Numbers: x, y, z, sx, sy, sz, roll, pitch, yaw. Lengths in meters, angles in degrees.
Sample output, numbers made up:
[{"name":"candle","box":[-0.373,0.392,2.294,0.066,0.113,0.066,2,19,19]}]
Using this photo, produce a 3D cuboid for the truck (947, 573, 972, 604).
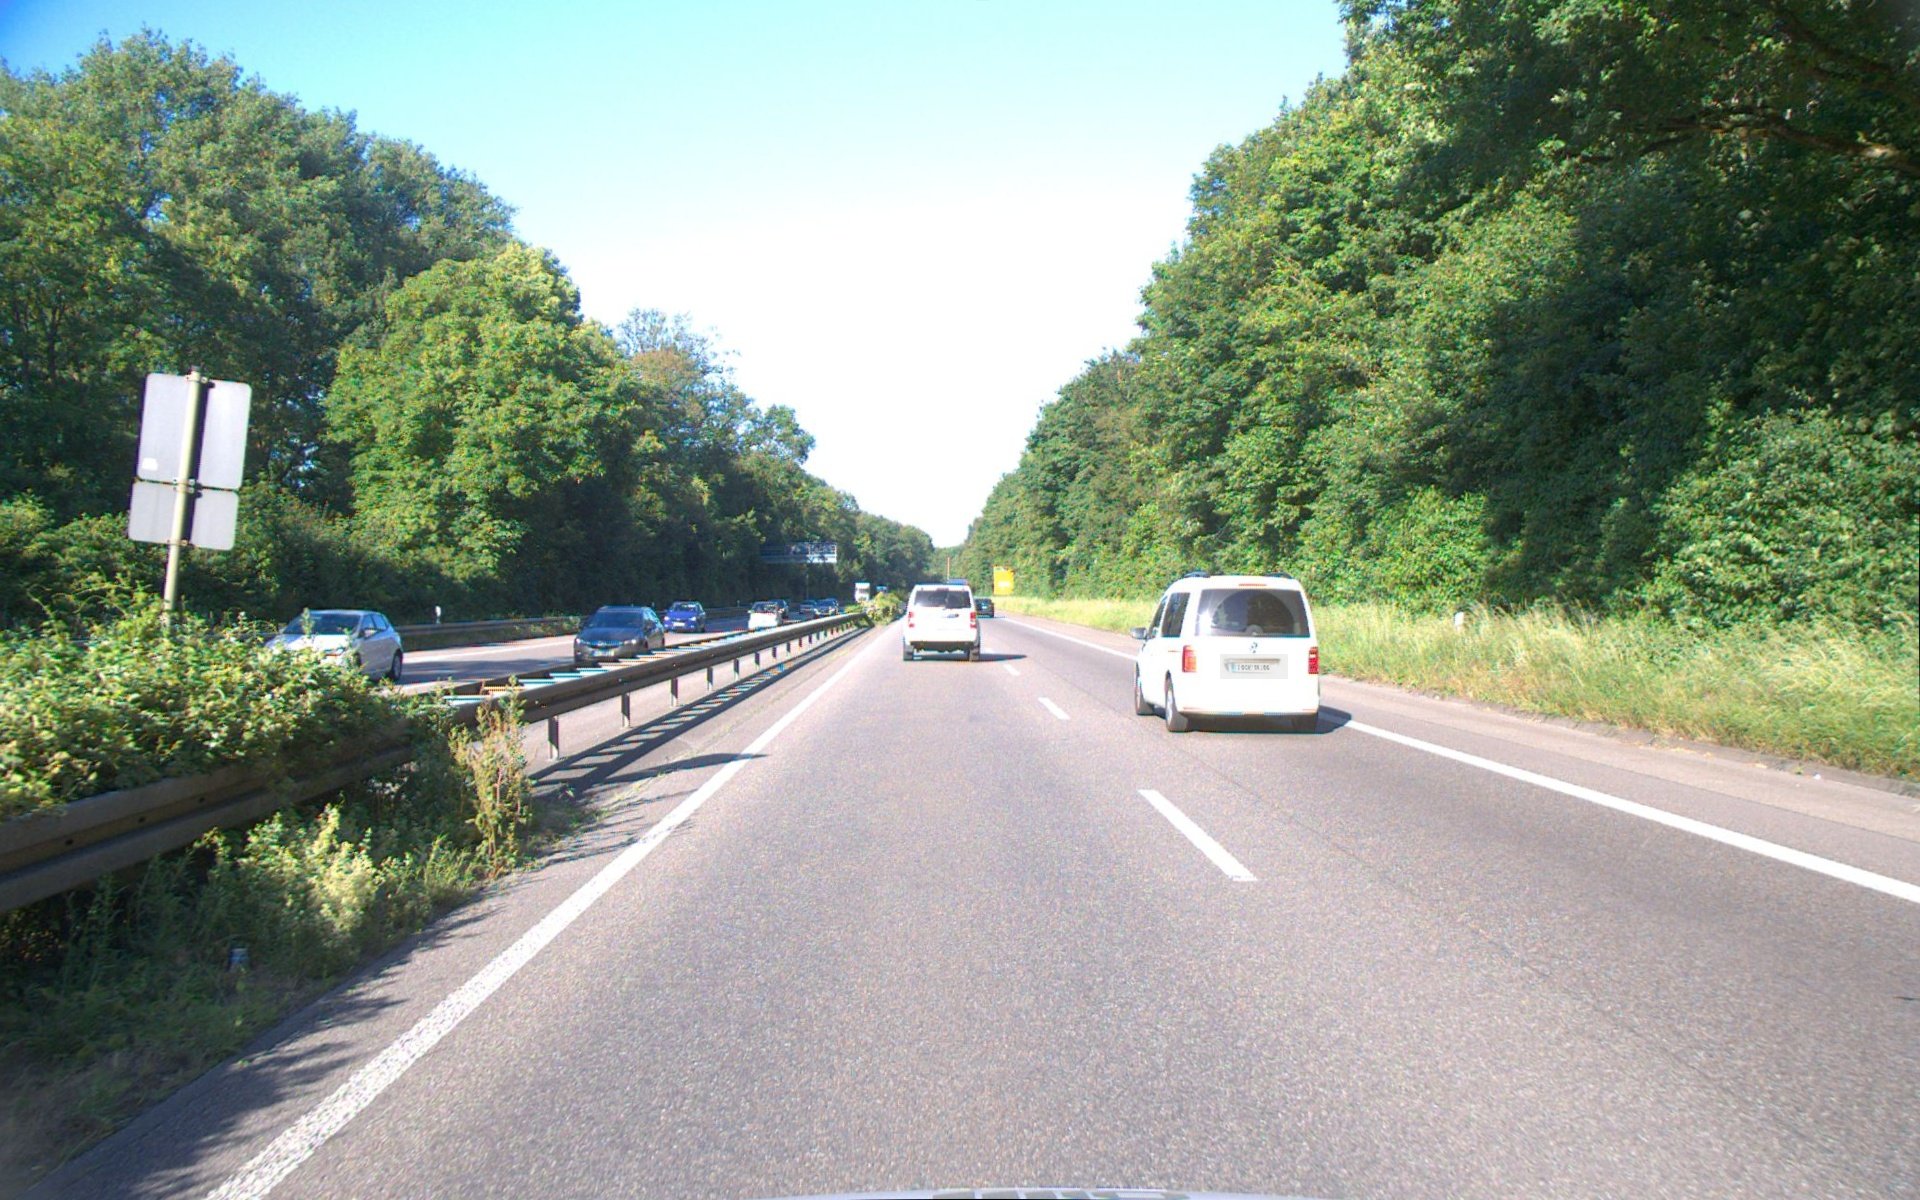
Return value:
[{"name":"truck","box":[-0.105,-1.612,238.005,3.425,4.245,8.859,-1,0,-1]}]

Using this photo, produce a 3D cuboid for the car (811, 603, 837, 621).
[{"name":"car","box":[-10.808,0.908,131.666,1.798,1.380,4.473,0,0,-2]}]

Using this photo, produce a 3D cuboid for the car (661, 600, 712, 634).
[{"name":"car","box":[-13.167,0.779,79.871,1.799,1.567,4.429,1,0,-1]}]

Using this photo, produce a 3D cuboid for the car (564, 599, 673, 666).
[{"name":"car","box":[-8.661,0.782,42.315,1.921,1.567,4.463,1,0,-1]}]

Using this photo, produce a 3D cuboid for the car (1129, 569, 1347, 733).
[{"name":"car","box":[3.308,0.557,20.575,1.826,1.801,4.468,1,0,-2]}]

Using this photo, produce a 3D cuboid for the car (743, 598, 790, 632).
[{"name":"car","box":[-9.518,0.719,81.612,1.839,1.567,4.463,0,0,-1]}]

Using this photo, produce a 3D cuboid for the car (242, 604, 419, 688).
[{"name":"car","box":[-12.358,0.851,32.777,1.921,1.475,4.325,1,0,-1]}]

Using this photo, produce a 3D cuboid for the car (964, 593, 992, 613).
[{"name":"car","box":[1.322,0.241,123.161,1.953,1.422,3.999,1,0,-1]}]

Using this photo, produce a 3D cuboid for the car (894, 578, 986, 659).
[{"name":"car","box":[-0.535,0.422,39.896,2.044,1.860,3.998,0,0,-3]}]

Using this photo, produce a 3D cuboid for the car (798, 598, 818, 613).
[{"name":"car","box":[-14.736,0.534,160.283,1.683,1.380,4.227,-1,0,-2]}]
